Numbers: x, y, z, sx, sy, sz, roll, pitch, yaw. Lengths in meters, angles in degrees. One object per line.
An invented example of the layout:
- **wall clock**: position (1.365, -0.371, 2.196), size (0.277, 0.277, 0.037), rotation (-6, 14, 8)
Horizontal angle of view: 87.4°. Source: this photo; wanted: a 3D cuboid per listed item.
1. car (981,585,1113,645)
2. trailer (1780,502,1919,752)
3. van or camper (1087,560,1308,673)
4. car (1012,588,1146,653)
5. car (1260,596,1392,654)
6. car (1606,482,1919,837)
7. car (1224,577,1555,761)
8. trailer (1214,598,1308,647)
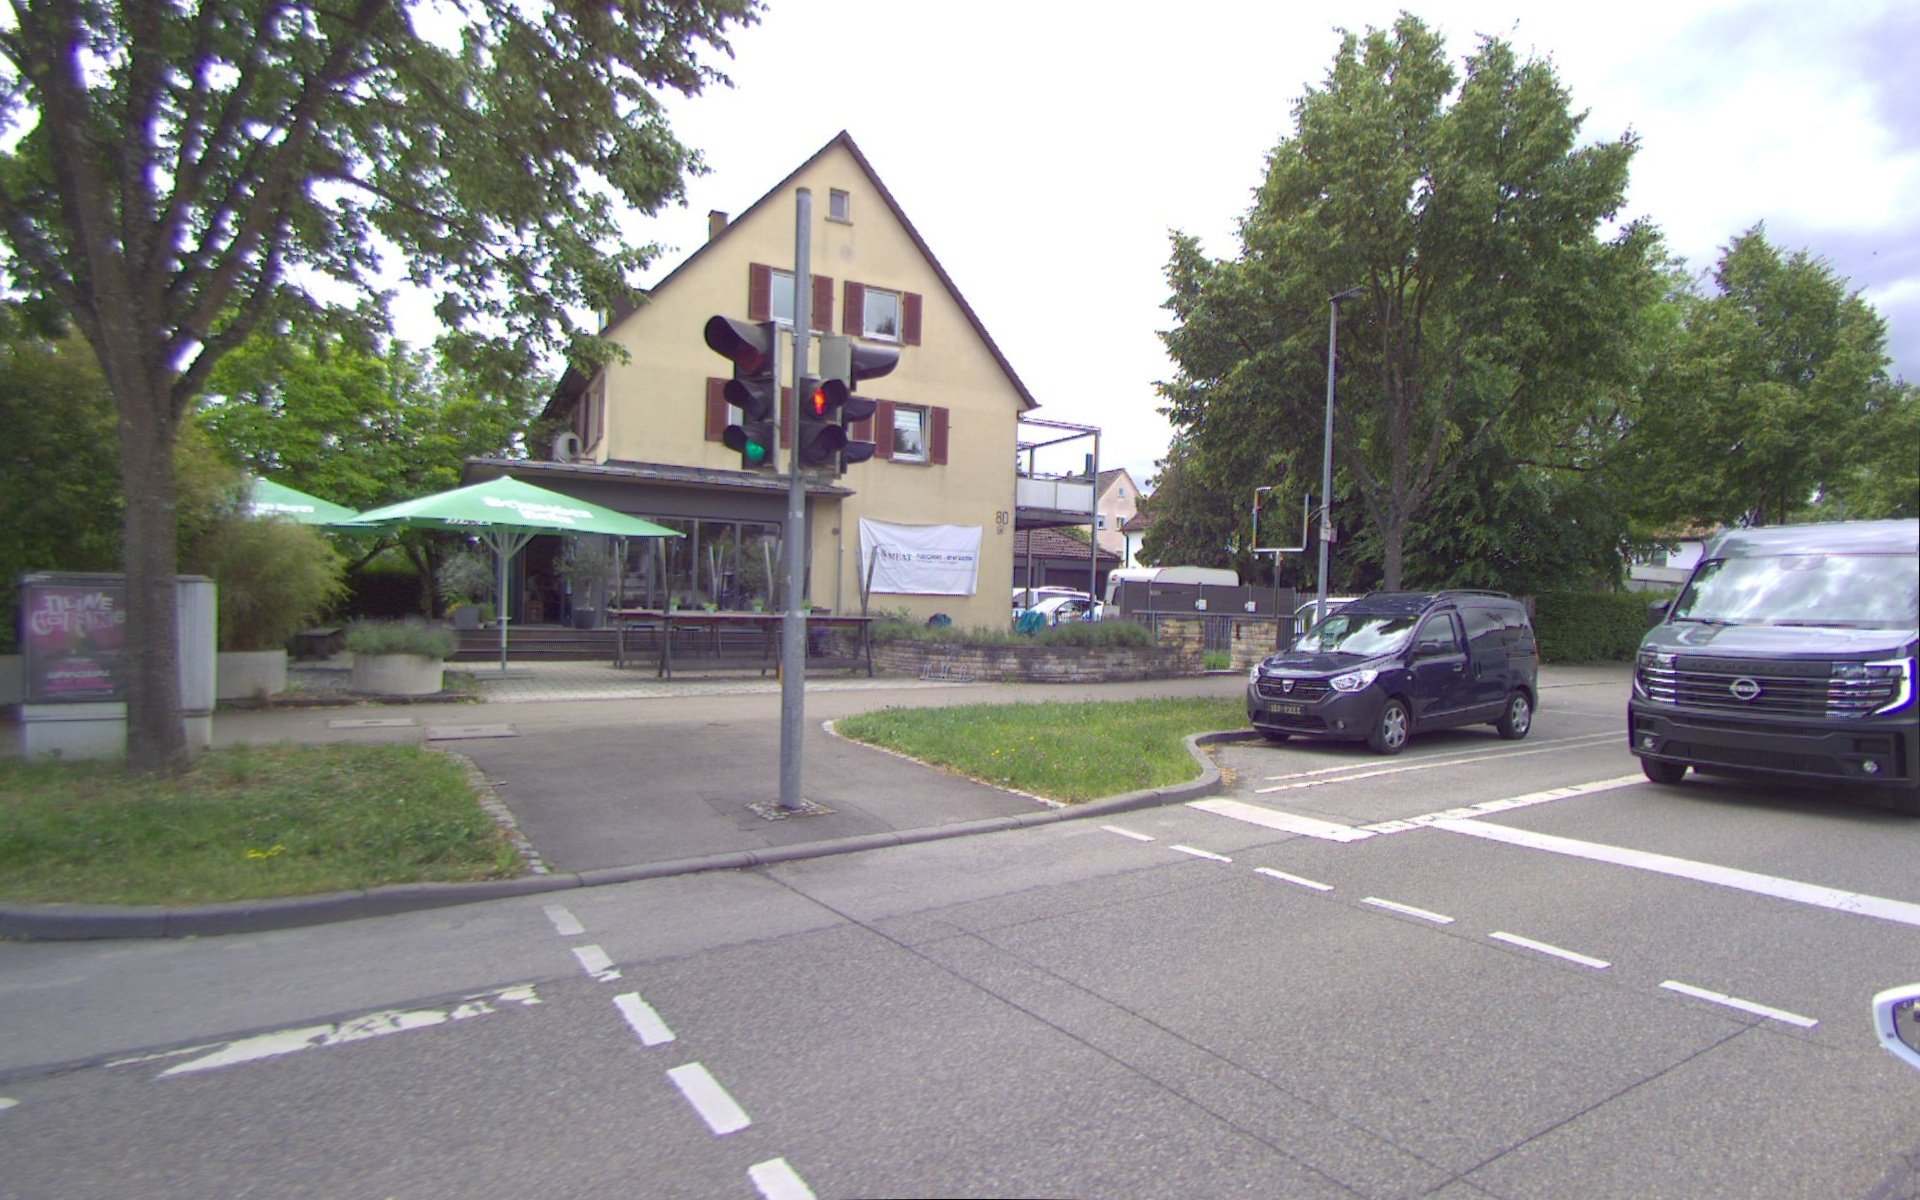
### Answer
- **car**: position (3.107, 0.561, 35.904), size (4.265, 2.040, 1.990), rotation (1, 0, -22)
- **trailer**: position (13.999, 0.377, 13.732), size (6.803, 2.917, 2.617), rotation (1, 0, -36)
- **van or camper**: position (6.755, 0.472, 28.494), size (5.862, 2.922, 2.586), rotation (1, 0, -28)
- **car**: position (3.916, 0.683, 33.094), size (3.945, 2.040, 1.988), rotation (1, 0, -24)
- **car**: position (12.349, 0.819, 34.127), size (1.897, 1.817, 3.970), rotation (1, -1, -28)
- **car**: position (8.758, 0.474, 9.786), size (6.253, 2.513, 2.045), rotation (1, 0, -36)
- **car**: position (5.355, 0.746, 12.304), size (4.354, 1.899, 1.696), rotation (1, 0, -35)
- **trailer**: position (11.258, 0.832, 37.719), size (1.643, 1.743, 3.133), rotation (1, -1, -28)
